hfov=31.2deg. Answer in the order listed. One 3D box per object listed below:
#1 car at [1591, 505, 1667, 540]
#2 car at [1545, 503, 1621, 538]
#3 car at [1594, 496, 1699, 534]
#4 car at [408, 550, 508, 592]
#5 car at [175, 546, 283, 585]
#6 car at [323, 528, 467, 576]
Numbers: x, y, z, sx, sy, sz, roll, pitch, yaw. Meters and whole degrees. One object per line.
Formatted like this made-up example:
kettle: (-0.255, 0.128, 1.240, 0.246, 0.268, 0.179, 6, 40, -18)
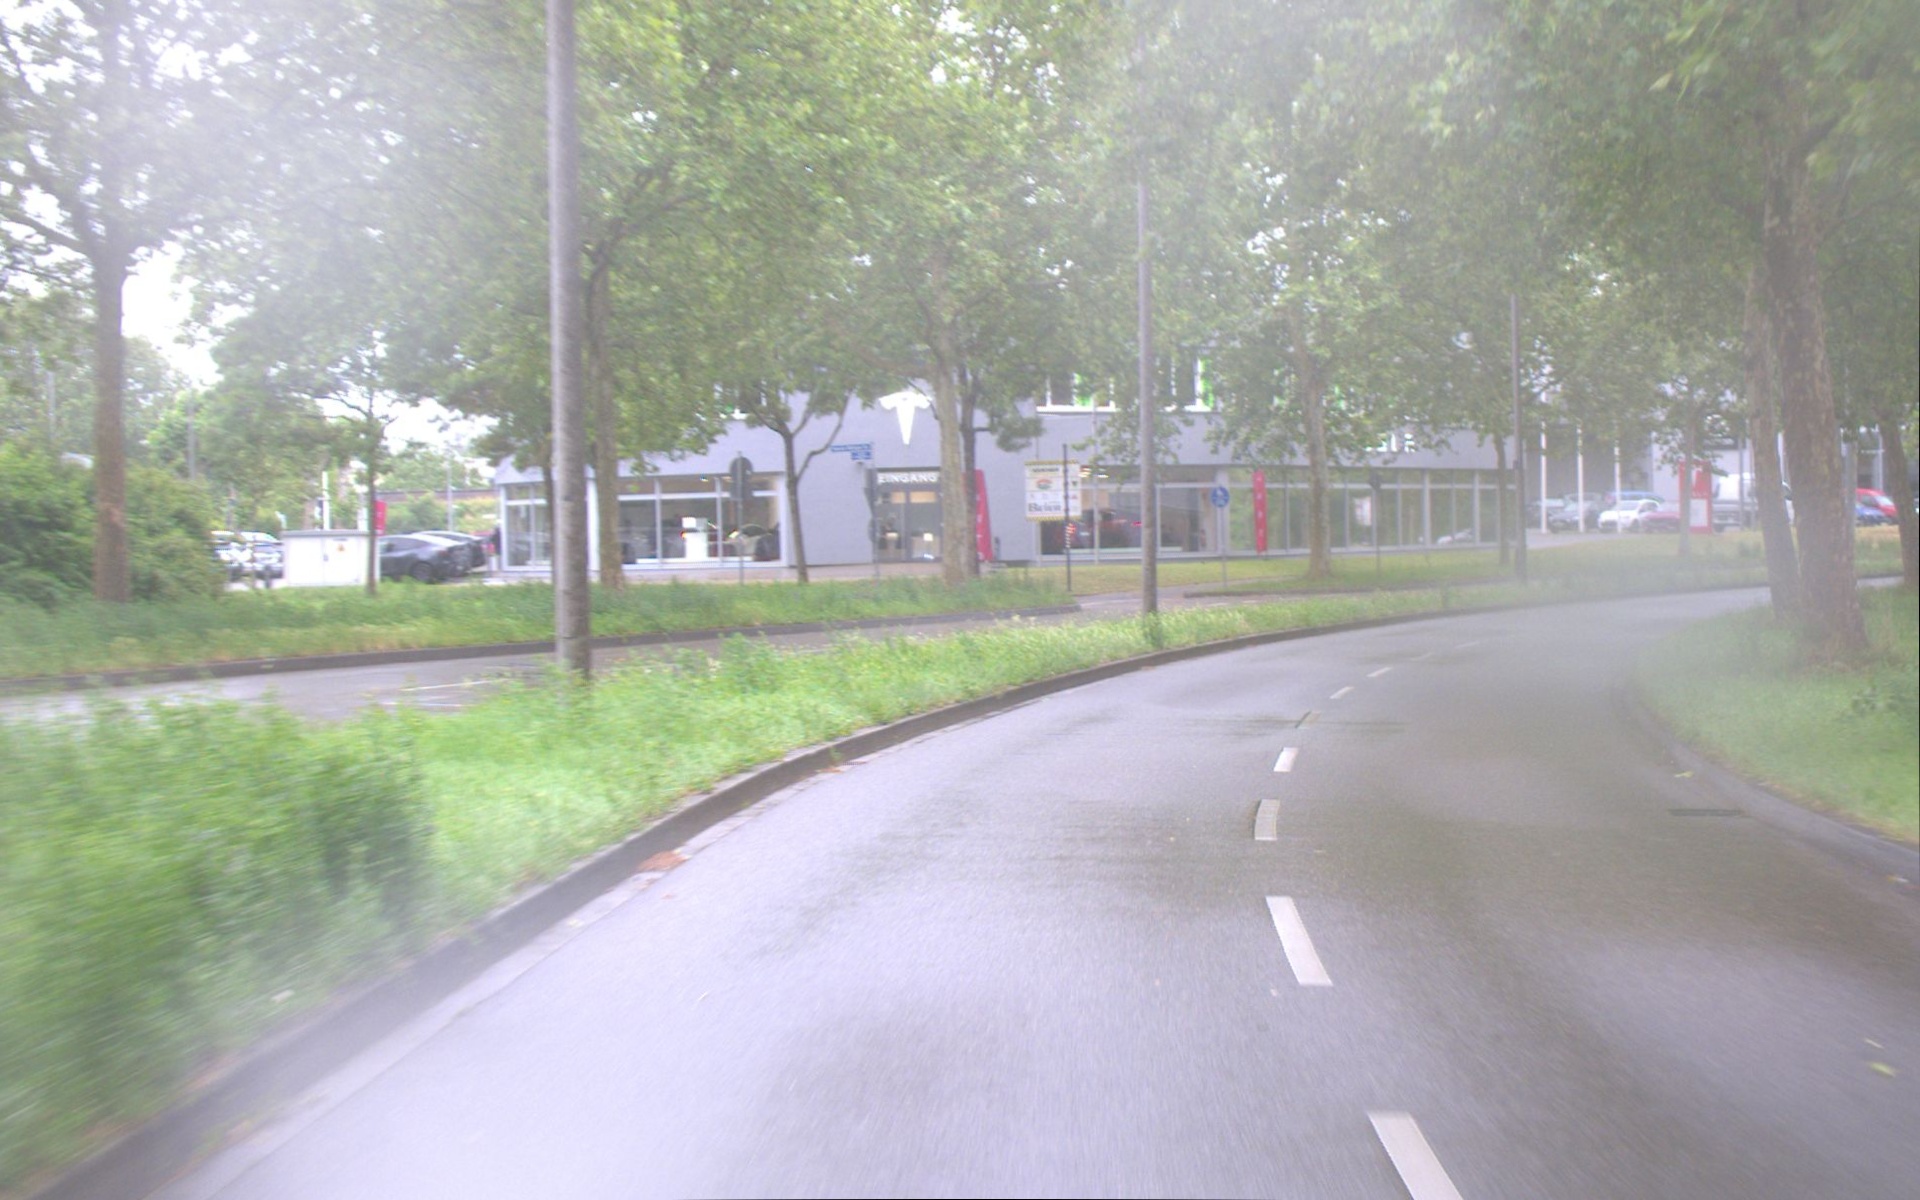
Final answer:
car: (30.713, -3.564, 157.692, 1.766, 1.392, 4.148, 2, 4, 37)
car: (28.845, -3.690, 159.135, 1.766, 1.392, 4.148, 2, 4, 37)
car: (33.355, -4.147, 167.108, 4.637, 1.758, 1.821, 0, 3, -8)
car: (-18.396, -1.072, 125.945, 3.306, 1.489, 1.598, 0, 1, 8)
car: (-28.285, -1.352, 133.142, 3.762, 1.489, 1.598, 0, 1, 8)
car: (-17.805, -1.505, 108.394, 4.192, 1.489, 1.598, 0, 1, 8)
